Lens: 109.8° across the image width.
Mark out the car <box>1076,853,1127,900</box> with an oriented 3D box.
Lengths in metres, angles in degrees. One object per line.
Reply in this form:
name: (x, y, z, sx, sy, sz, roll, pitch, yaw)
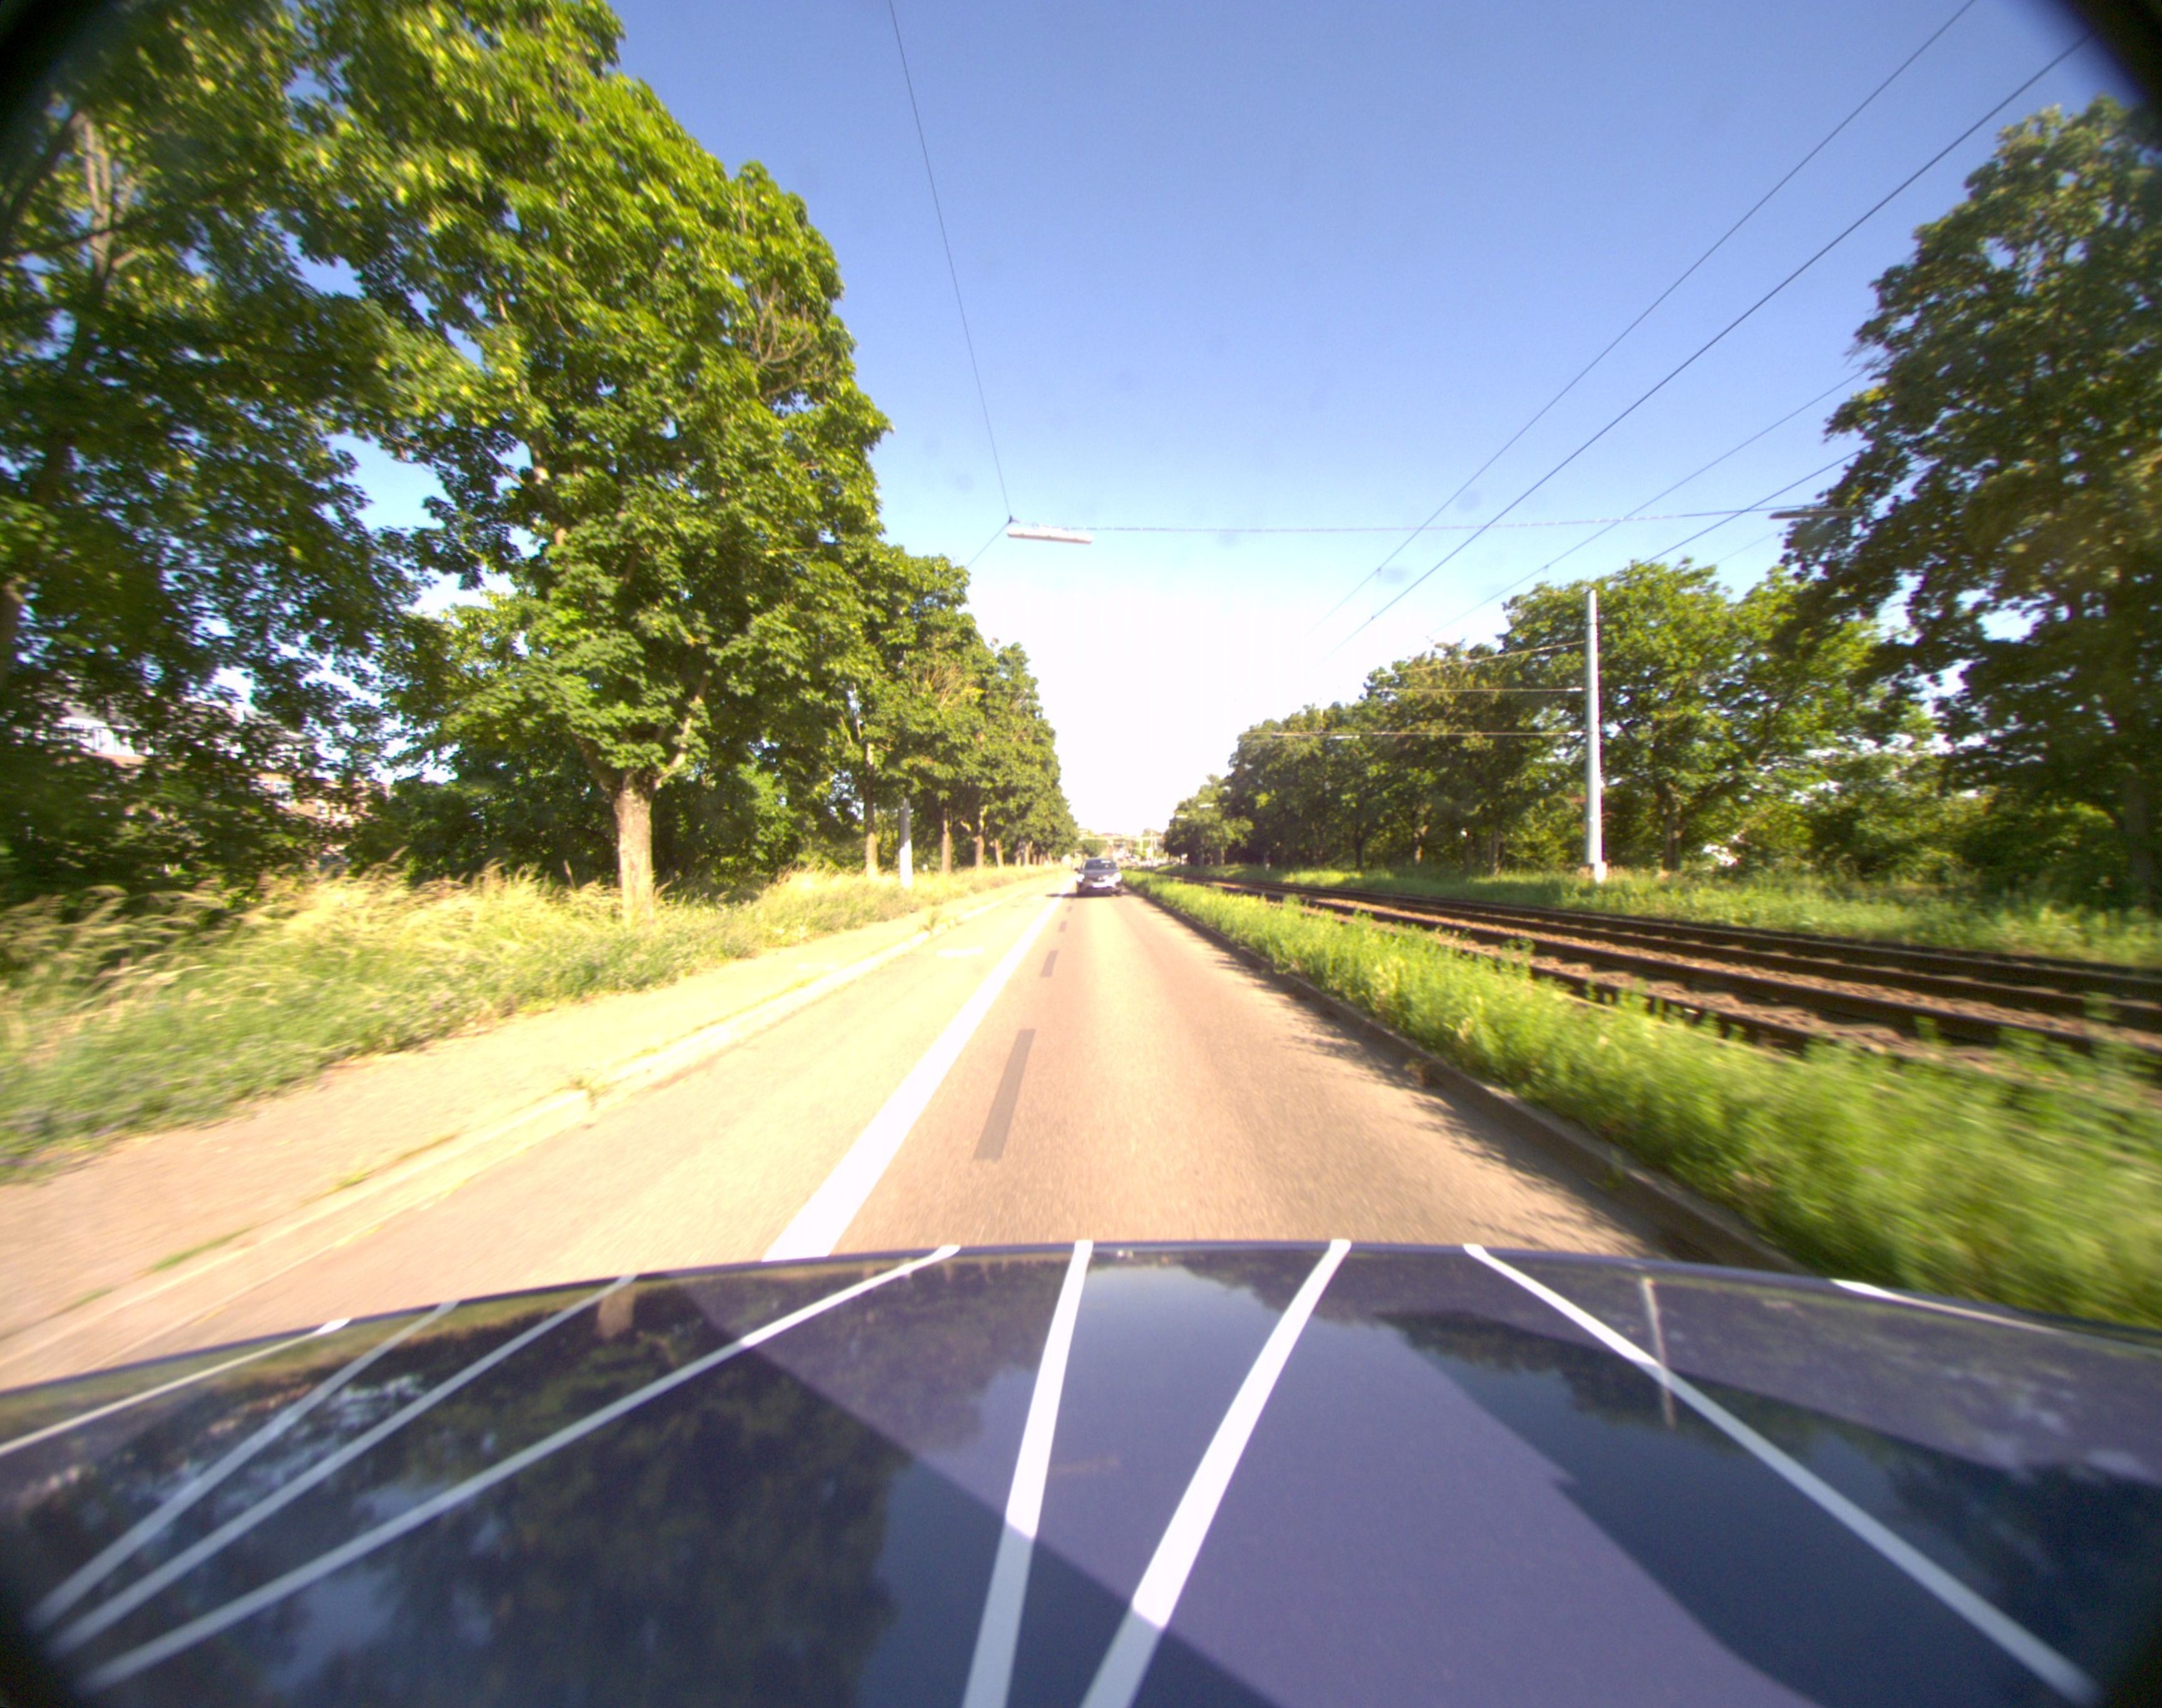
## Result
car: (0.782, 0.835, 30.183, 1.814, 1.625, 4.710, -2, 0, 1)
